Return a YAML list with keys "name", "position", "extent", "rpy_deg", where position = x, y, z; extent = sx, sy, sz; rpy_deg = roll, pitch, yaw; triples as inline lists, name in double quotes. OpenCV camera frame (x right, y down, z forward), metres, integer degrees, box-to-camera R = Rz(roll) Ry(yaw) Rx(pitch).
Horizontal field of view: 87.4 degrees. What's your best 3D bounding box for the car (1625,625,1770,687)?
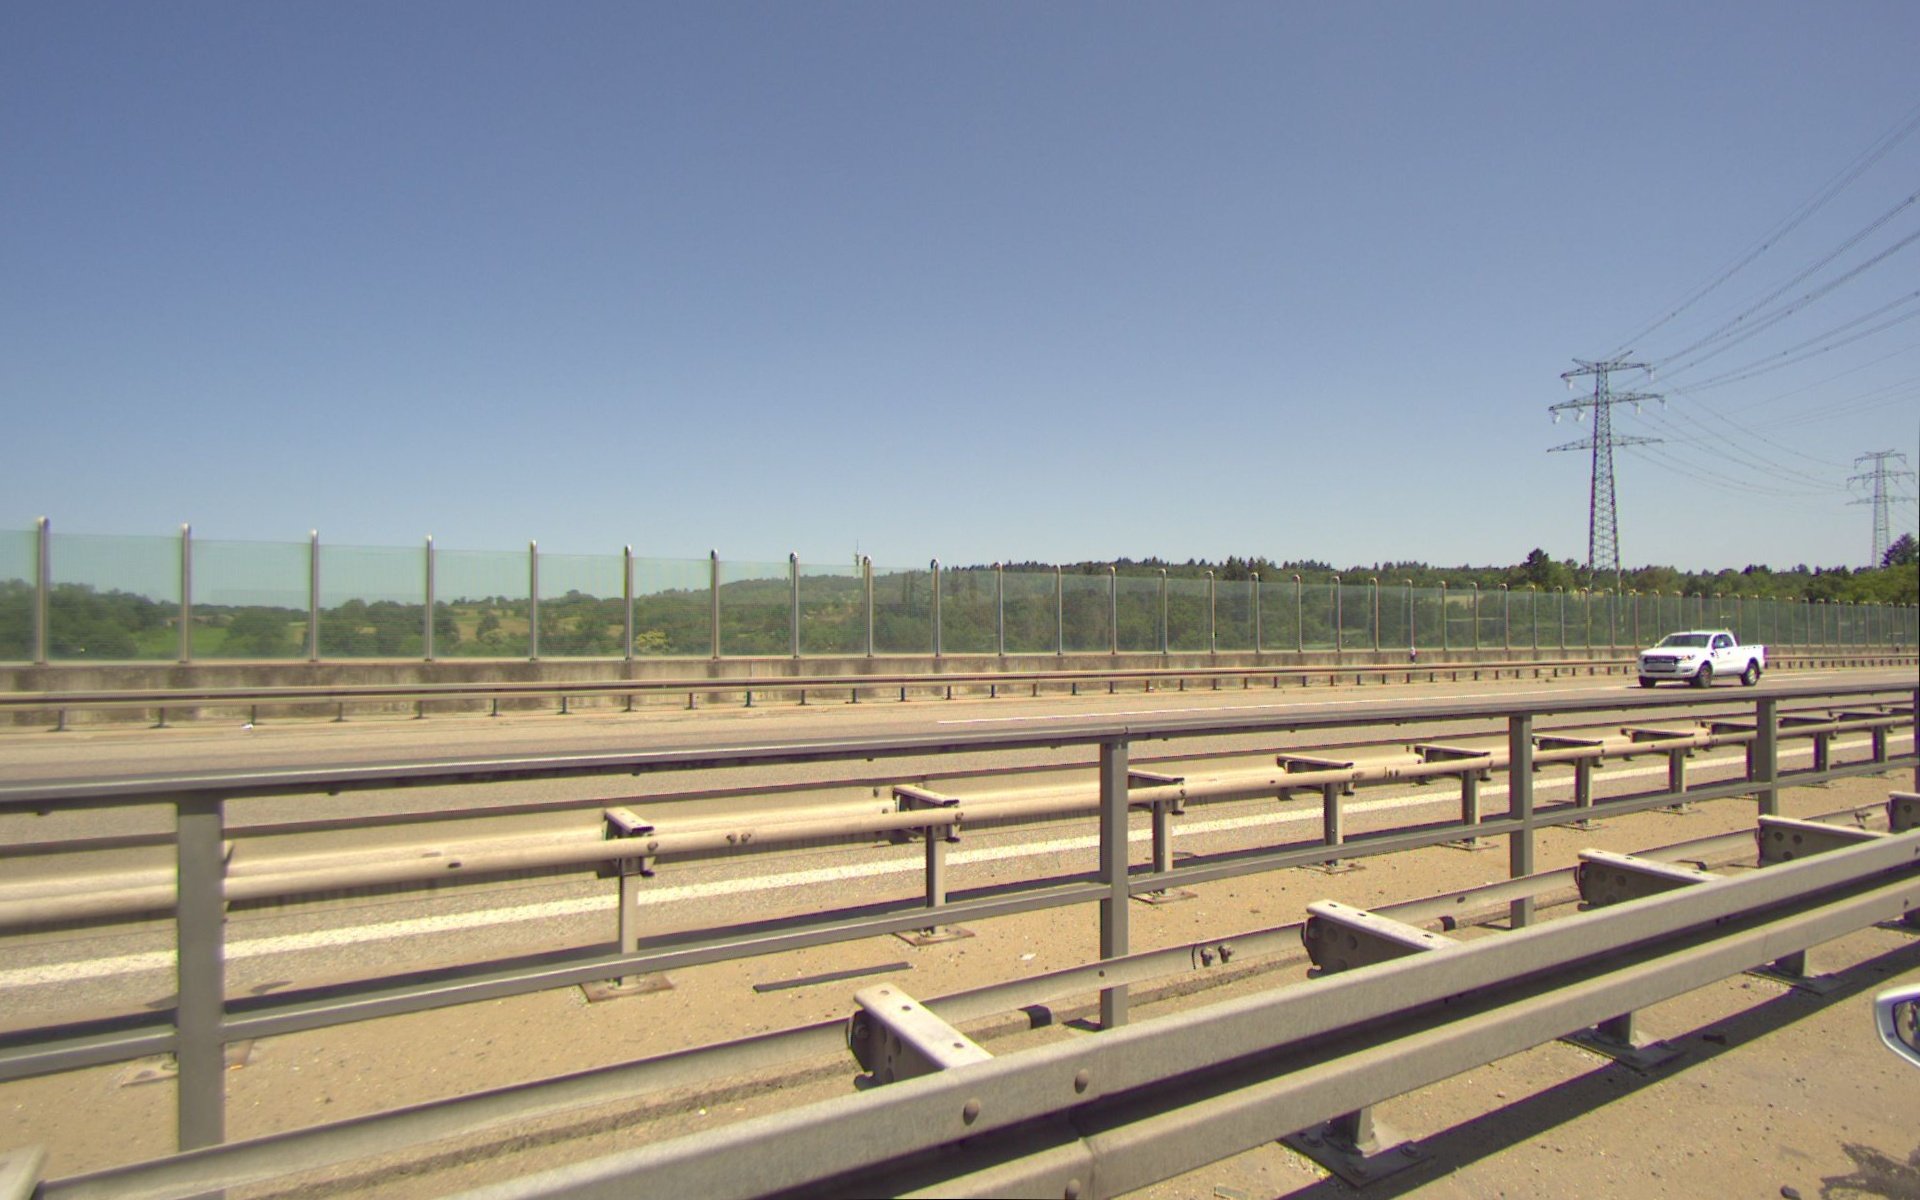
- name: "car"
  position: [24.283, 1.795, 33.030]
  extent: [5.195, 1.910, 1.984]
  rpy_deg: [1, -2, -31]
